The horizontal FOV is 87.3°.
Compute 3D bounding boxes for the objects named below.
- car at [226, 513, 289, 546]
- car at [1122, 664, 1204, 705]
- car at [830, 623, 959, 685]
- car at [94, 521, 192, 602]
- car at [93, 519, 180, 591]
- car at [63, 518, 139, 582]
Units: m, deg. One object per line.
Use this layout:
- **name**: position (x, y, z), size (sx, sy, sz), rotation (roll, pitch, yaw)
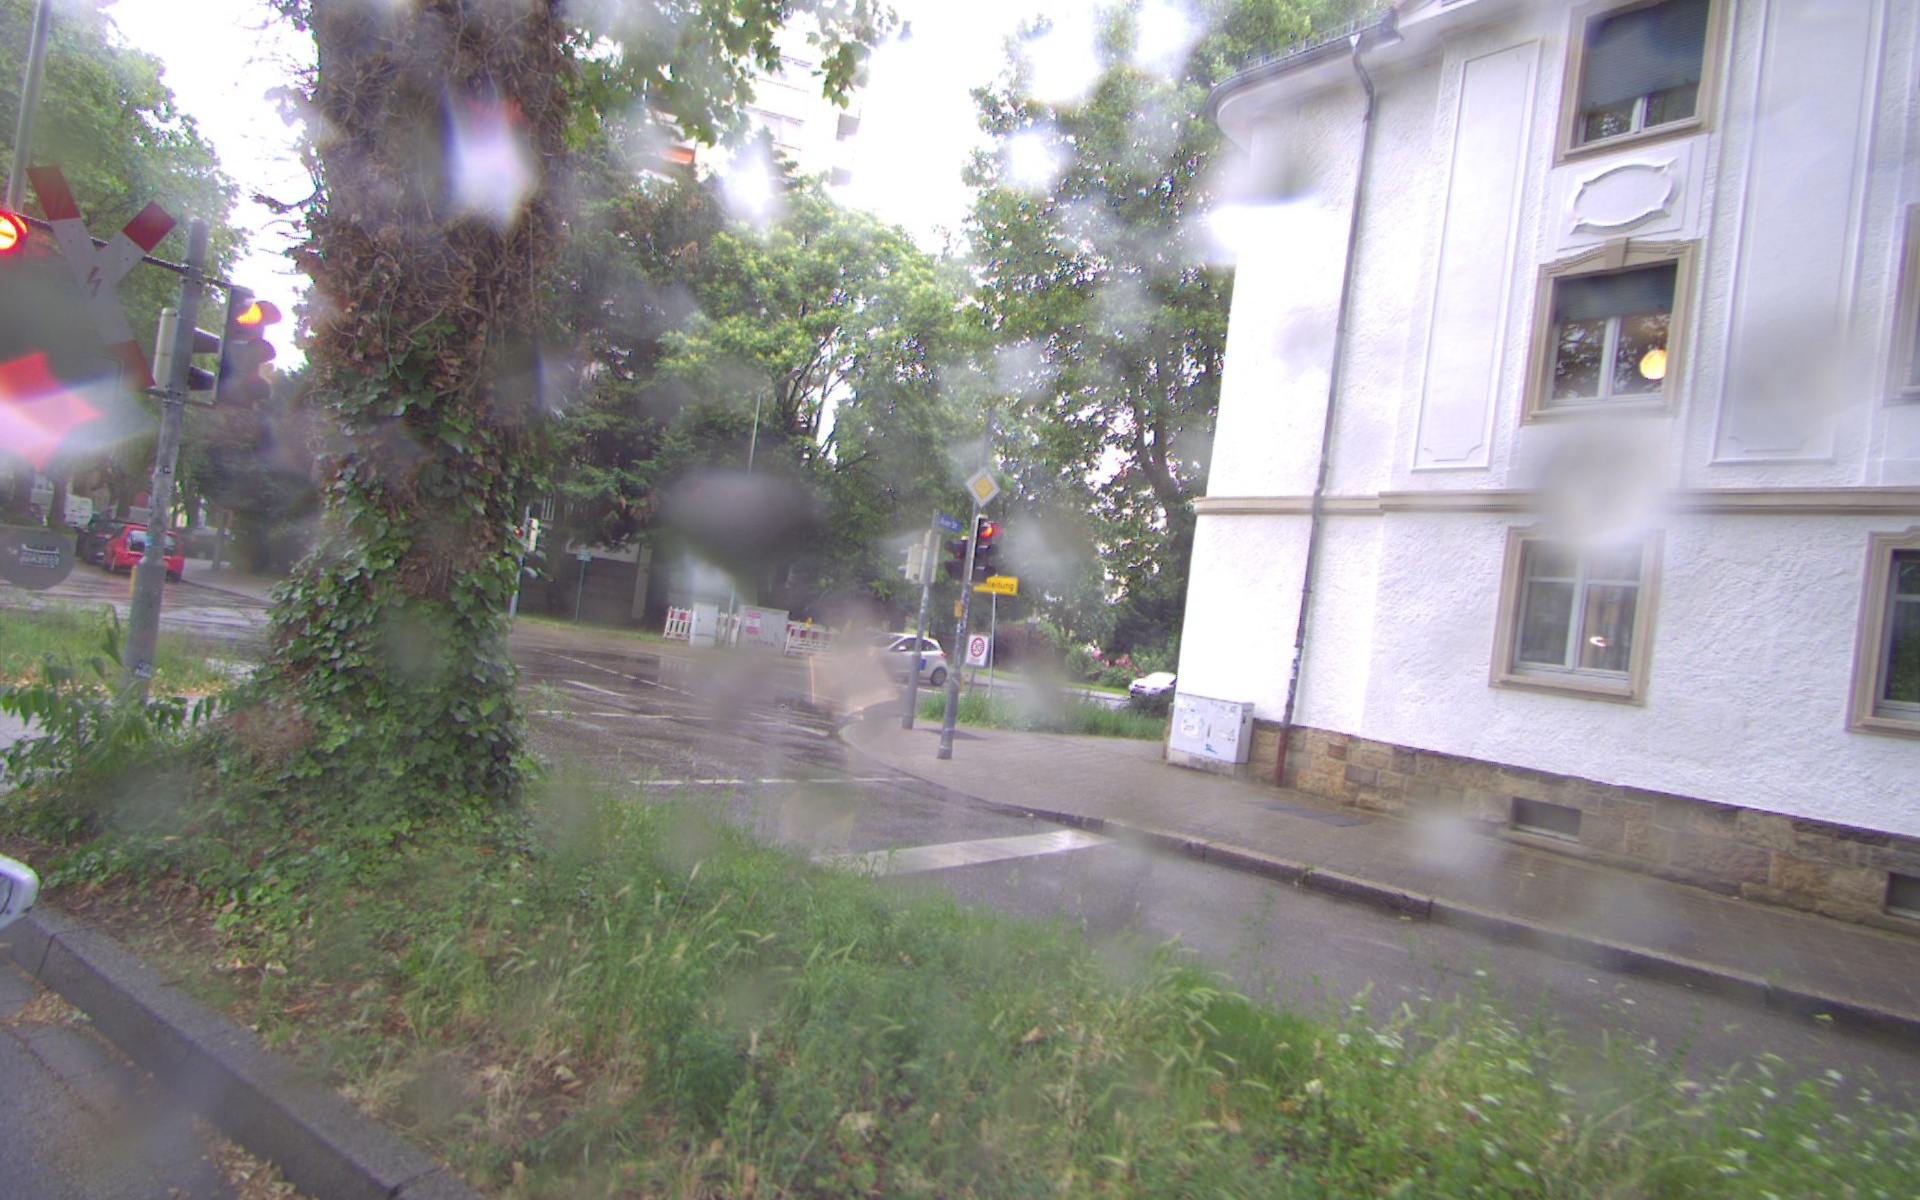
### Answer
- **car**: position (-57.173, -5.731, 81.936), size (3.969, 2.038, 1.689), rotation (7, 0, -39)
- **car**: position (9.243, 3.847, 45.684), size (3.630, 1.504, 1.704), rotation (8, 0, -43)
- **car**: position (-1.970, 1.683, 31.059), size (3.632, 1.504, 1.703), rotation (8, 0, -45)
- **car**: position (-24.918, -1.199, 30.632), size (1.986, 2.038, 3.952), rotation (7, 0, -42)
- **car**: position (-27.873, -1.549, 33.996), size (1.986, 2.038, 3.952), rotation (7, 0, -42)
- **car**: position (-32.943, -1.931, 38.564), size (1.986, 2.038, 3.952), rotation (7, 0, -42)
